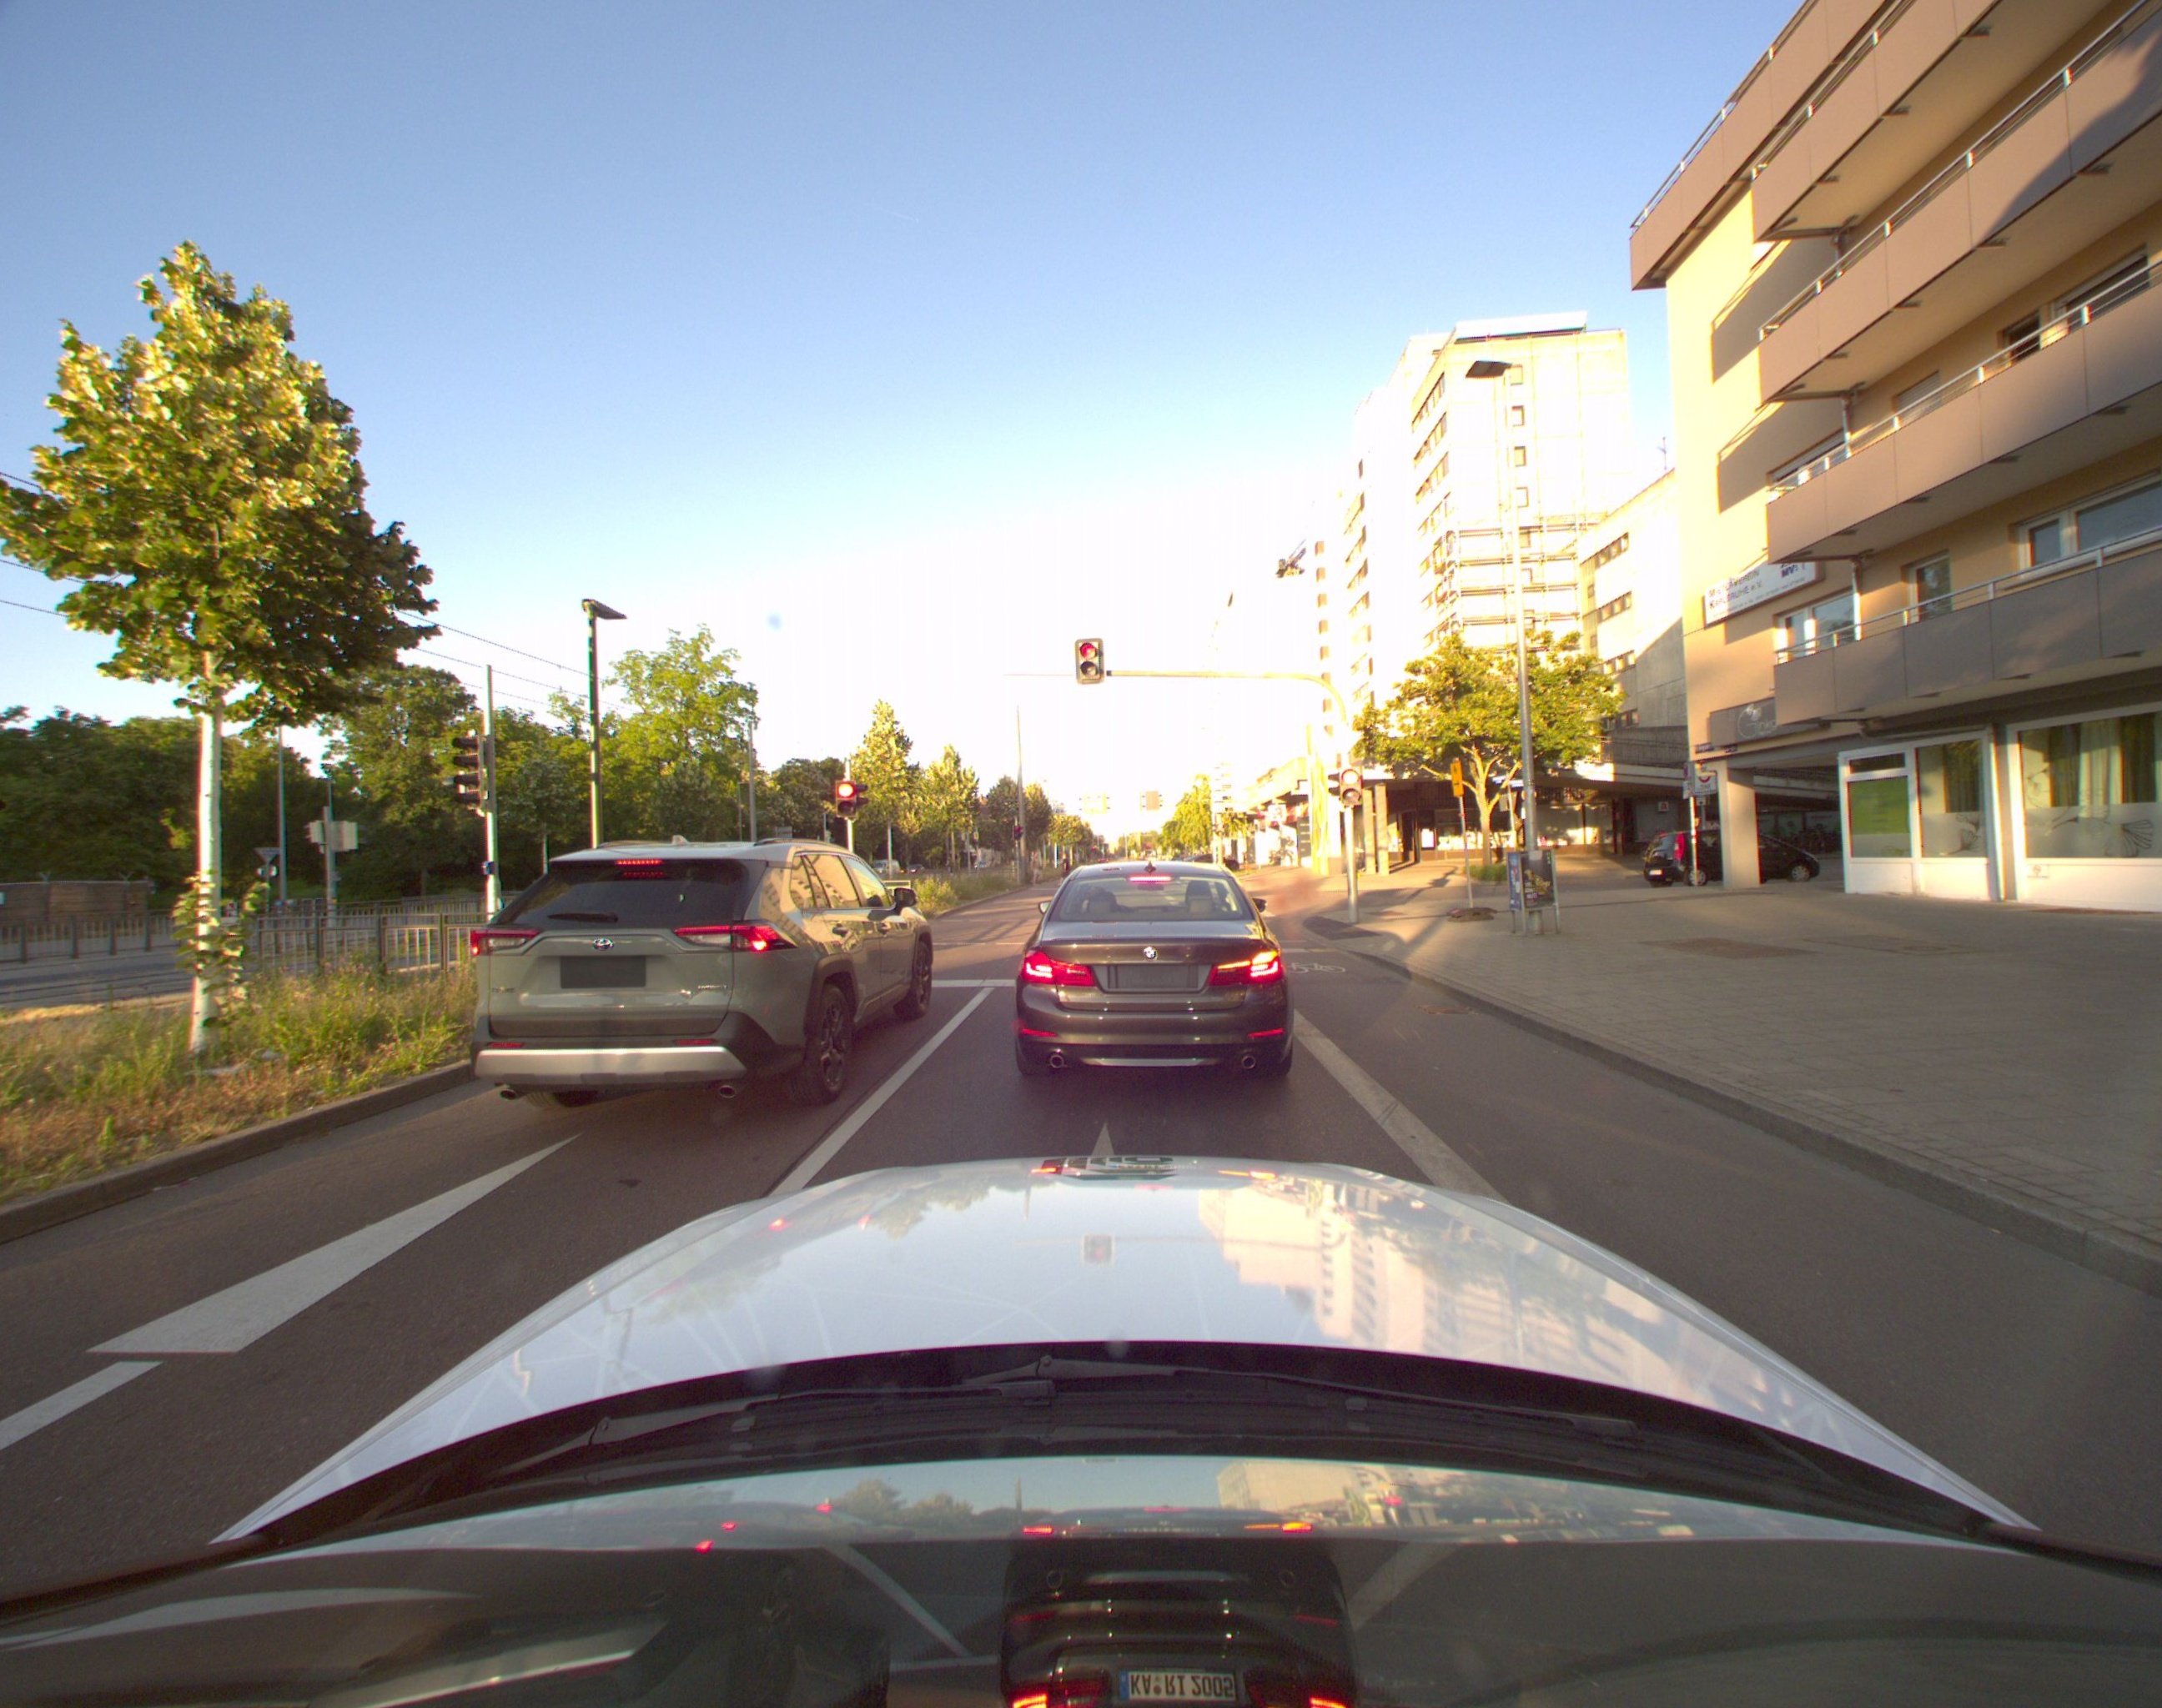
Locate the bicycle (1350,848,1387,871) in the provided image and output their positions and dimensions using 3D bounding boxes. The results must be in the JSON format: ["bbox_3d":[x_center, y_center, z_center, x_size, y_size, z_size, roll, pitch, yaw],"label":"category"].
[{"bbox_3d":[14.533,0.291,41.223,0.690,1.149,2.012,1,-1,-16],"label":"bicycle"}]

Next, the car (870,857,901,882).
[{"bbox_3d":[-18.394,1.396,76.674,1.989,2.168,4.745,-1,1,-3],"label":"car"}]

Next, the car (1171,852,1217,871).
[{"bbox_3d":[10.992,0.713,79.077,4.285,1.658,1.841,-2,1,-34],"label":"car"}]

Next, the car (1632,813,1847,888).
[{"bbox_3d":[17.198,-0.042,21.461,4.019,1.585,1.708,-4,-4,6],"label":"car"}]

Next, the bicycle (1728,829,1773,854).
[{"bbox_3d":[30.338,-0.567,36.932,0.578,1.075,1.980,1,-1,5],"label":"bicycle"}]

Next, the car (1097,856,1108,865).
[{"bbox_3d":[3.877,1.105,147.177,1.971,1.433,4.846,-1,1,2],"label":"car"}]

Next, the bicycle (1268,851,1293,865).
[{"bbox_3d":[16.853,0.337,68.812,2.005,1.149,0.692,0,-1,8],"label":"bicycle"}]

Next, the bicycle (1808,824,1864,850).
[{"bbox_3d":[34.090,-0.766,36.807,0.579,1.075,1.974,1,-1,-4],"label":"bicycle"}]

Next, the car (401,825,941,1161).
[{"bbox_3d":[-2.421,0.663,6.218,1.848,1.658,4.269,-1,1,1],"label":"car"}]

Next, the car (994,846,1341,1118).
[{"bbox_3d":[0.702,0.705,6.859,1.922,1.481,4.530,-1,1,6],"label":"car"}]

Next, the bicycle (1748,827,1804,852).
[{"bbox_3d":[31.867,-0.650,37.392,0.582,1.075,1.966,1,-1,-17],"label":"bicycle"}]

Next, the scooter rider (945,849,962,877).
[{"bbox_3d":[-7.056,0.515,45.073,0.818,1.514,0.653,-2,-1,-1],"label":"scooter rider"}]

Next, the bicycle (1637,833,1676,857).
[{"bbox_3d":[27.028,-0.407,38.286,0.578,1.075,1.980,1,-1,5],"label":"bicycle"}]

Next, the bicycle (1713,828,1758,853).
[{"bbox_3d":[29.793,-0.584,37.106,0.578,1.075,1.980,1,-1,5],"label":"bicycle"}]

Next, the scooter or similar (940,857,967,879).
[{"bbox_3d":[-7.041,0.791,45.039,1.325,1.153,0.513,-2,-1,-1],"label":"scooter or similar"}]

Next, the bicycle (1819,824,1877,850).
[{"bbox_3d":[34.704,-0.766,36.875,0.580,1.075,1.971,1,-1,-9],"label":"bicycle"}]

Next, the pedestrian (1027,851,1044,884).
[{"bbox_3d":[-2.469,0.728,44.106,0.832,1.712,0.648,-2,-1,1],"label":"pedestrian"}]

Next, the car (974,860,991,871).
[{"bbox_3d":[-14.741,1.699,121.783,1.792,1.481,3.786,-2,0,3],"label":"car"}]

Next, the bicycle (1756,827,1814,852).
[{"bbox_3d":[32.345,-0.666,37.449,0.583,1.075,1.963,1,-1,-21],"label":"bicycle"}]

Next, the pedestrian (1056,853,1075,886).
[{"bbox_3d":[-0.771,0.752,40.769,0.831,1.586,0.813,-3,-1,6],"label":"pedestrian"}]

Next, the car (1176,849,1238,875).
[{"bbox_3d":[8.800,0.531,56.735,4.291,1.658,1.839,-2,1,-40],"label":"car"}]

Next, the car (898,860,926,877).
[{"bbox_3d":[-18.813,1.572,90.729,1.986,1.744,4.752,-1,1,1],"label":"car"}]

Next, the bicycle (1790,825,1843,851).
[{"bbox_3d":[33.501,-0.716,37.132,0.579,1.075,1.976,1,-1,-1],"label":"bicycle"}]

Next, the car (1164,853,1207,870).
[{"bbox_3d":[10.920,0.768,85.158,4.284,1.658,1.842,-2,1,-33],"label":"car"}]

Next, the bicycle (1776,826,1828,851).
[{"bbox_3d":[32.942,-0.681,37.230,0.579,1.075,1.976,1,-1,-1],"label":"bicycle"}]
